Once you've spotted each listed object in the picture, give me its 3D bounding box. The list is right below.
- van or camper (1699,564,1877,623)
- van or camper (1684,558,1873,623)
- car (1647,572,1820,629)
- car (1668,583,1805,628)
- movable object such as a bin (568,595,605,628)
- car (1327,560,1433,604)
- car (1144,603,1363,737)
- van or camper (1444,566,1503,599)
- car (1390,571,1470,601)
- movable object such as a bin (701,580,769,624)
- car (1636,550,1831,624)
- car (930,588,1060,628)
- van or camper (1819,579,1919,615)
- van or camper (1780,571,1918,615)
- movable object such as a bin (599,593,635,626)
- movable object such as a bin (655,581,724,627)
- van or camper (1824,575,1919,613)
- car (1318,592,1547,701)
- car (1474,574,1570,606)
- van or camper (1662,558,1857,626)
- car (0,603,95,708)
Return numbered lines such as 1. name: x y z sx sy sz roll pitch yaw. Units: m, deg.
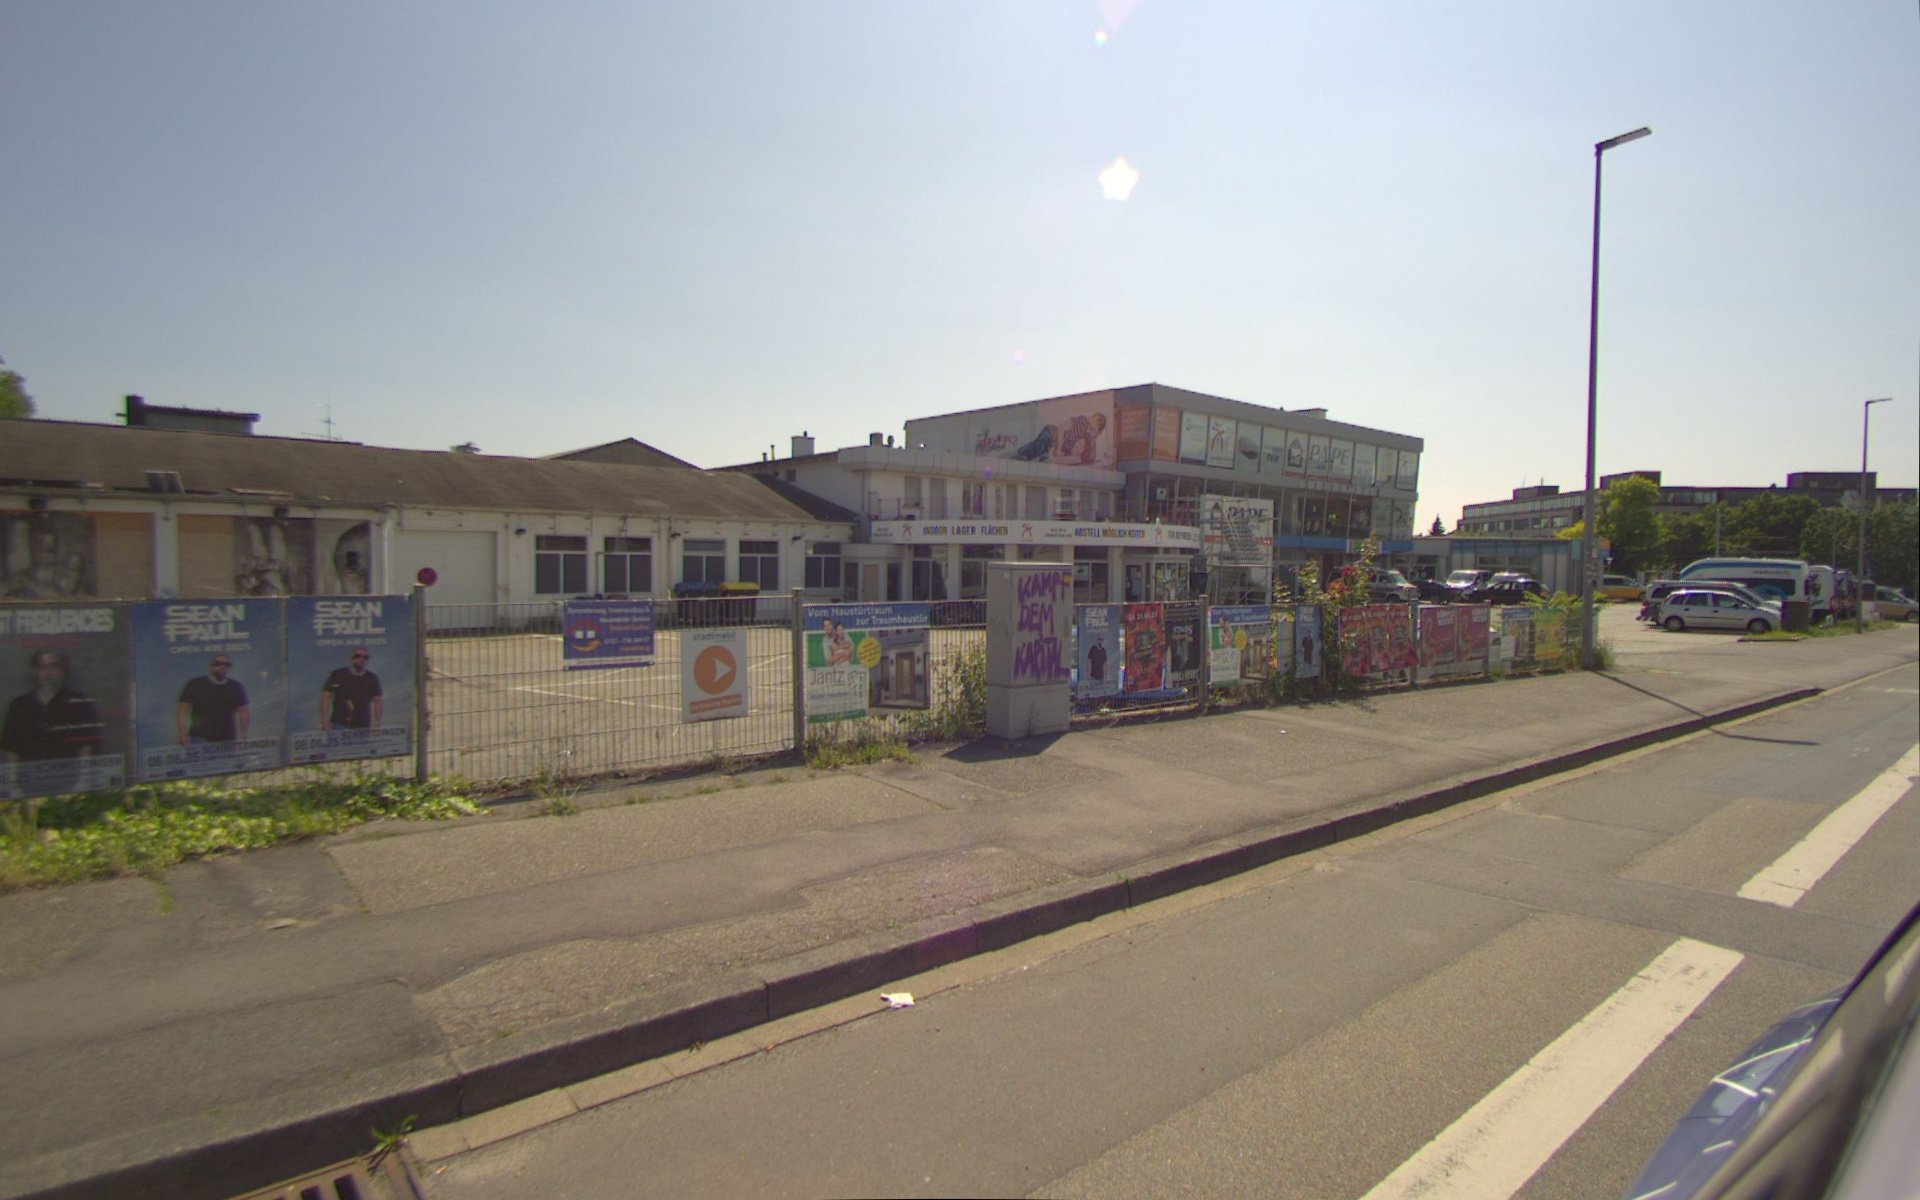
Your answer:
1. van or camper: 39.480 -0.392 48.432 2.573 2.555 6.208 0 2 -41
2. van or camper: 37.739 -0.508 46.840 2.665 2.750 6.362 0 2 -41
3. car: 31.345 -0.029 41.152 1.965 1.976 5.245 0 3 -41
4. car: 29.640 0.198 38.717 1.767 1.613 3.928 0 0 -41
5. movable object such as a bin: -12.001 0.365 32.525 0.746 1.004 0.862 2 1 44
6. car: 24.829 -1.100 59.947 2.285 2.448 5.307 0 2 -41
7. car: 4.153 0.911 15.014 1.855 1.636 3.834 1 1 -4
8. van or camper: 33.730 -1.131 66.417 2.117 2.038 5.036 3 2 43
9. car: 29.332 -0.893 63.241 1.967 1.754 4.109 0 2 -44
10. movable object such as a bin: -7.920 0.053 35.610 1.571 1.474 1.796 2 1 44
11. car: 32.891 -0.625 43.233 2.279 2.905 6.241 0 2 -40
12. car: 1.296 0.276 36.142 4.476 1.306 1.891 -1 0 7
13. van or camper: 57.950 -0.195 63.879 5.070 2.102 2.439 2 2 17
14. van or camper: 58.522 -0.528 66.764 6.268 2.669 2.523 2 1 13
15. movable object such as a bin: -11.211 0.309 33.111 0.746 1.049 0.862 2 1 44
16. movable object such as a bin: -9.164 0.113 34.303 1.571 1.474 1.727 2 1 44
17. van or camper: 54.232 -0.374 59.220 5.071 1.985 1.976 3 3 19
18. car: 8.786 0.754 19.434 1.986 1.641 5.046 -4 1 1
19. car: 32.954 -0.619 59.440 1.967 1.699 4.541 0 2 -44
20. van or camper: 35.388 -0.427 44.962 2.665 2.733 6.362 0 2 -41
21. car: -15.288 0.800 16.219 2.081 1.415 4.338 0 1 -40
